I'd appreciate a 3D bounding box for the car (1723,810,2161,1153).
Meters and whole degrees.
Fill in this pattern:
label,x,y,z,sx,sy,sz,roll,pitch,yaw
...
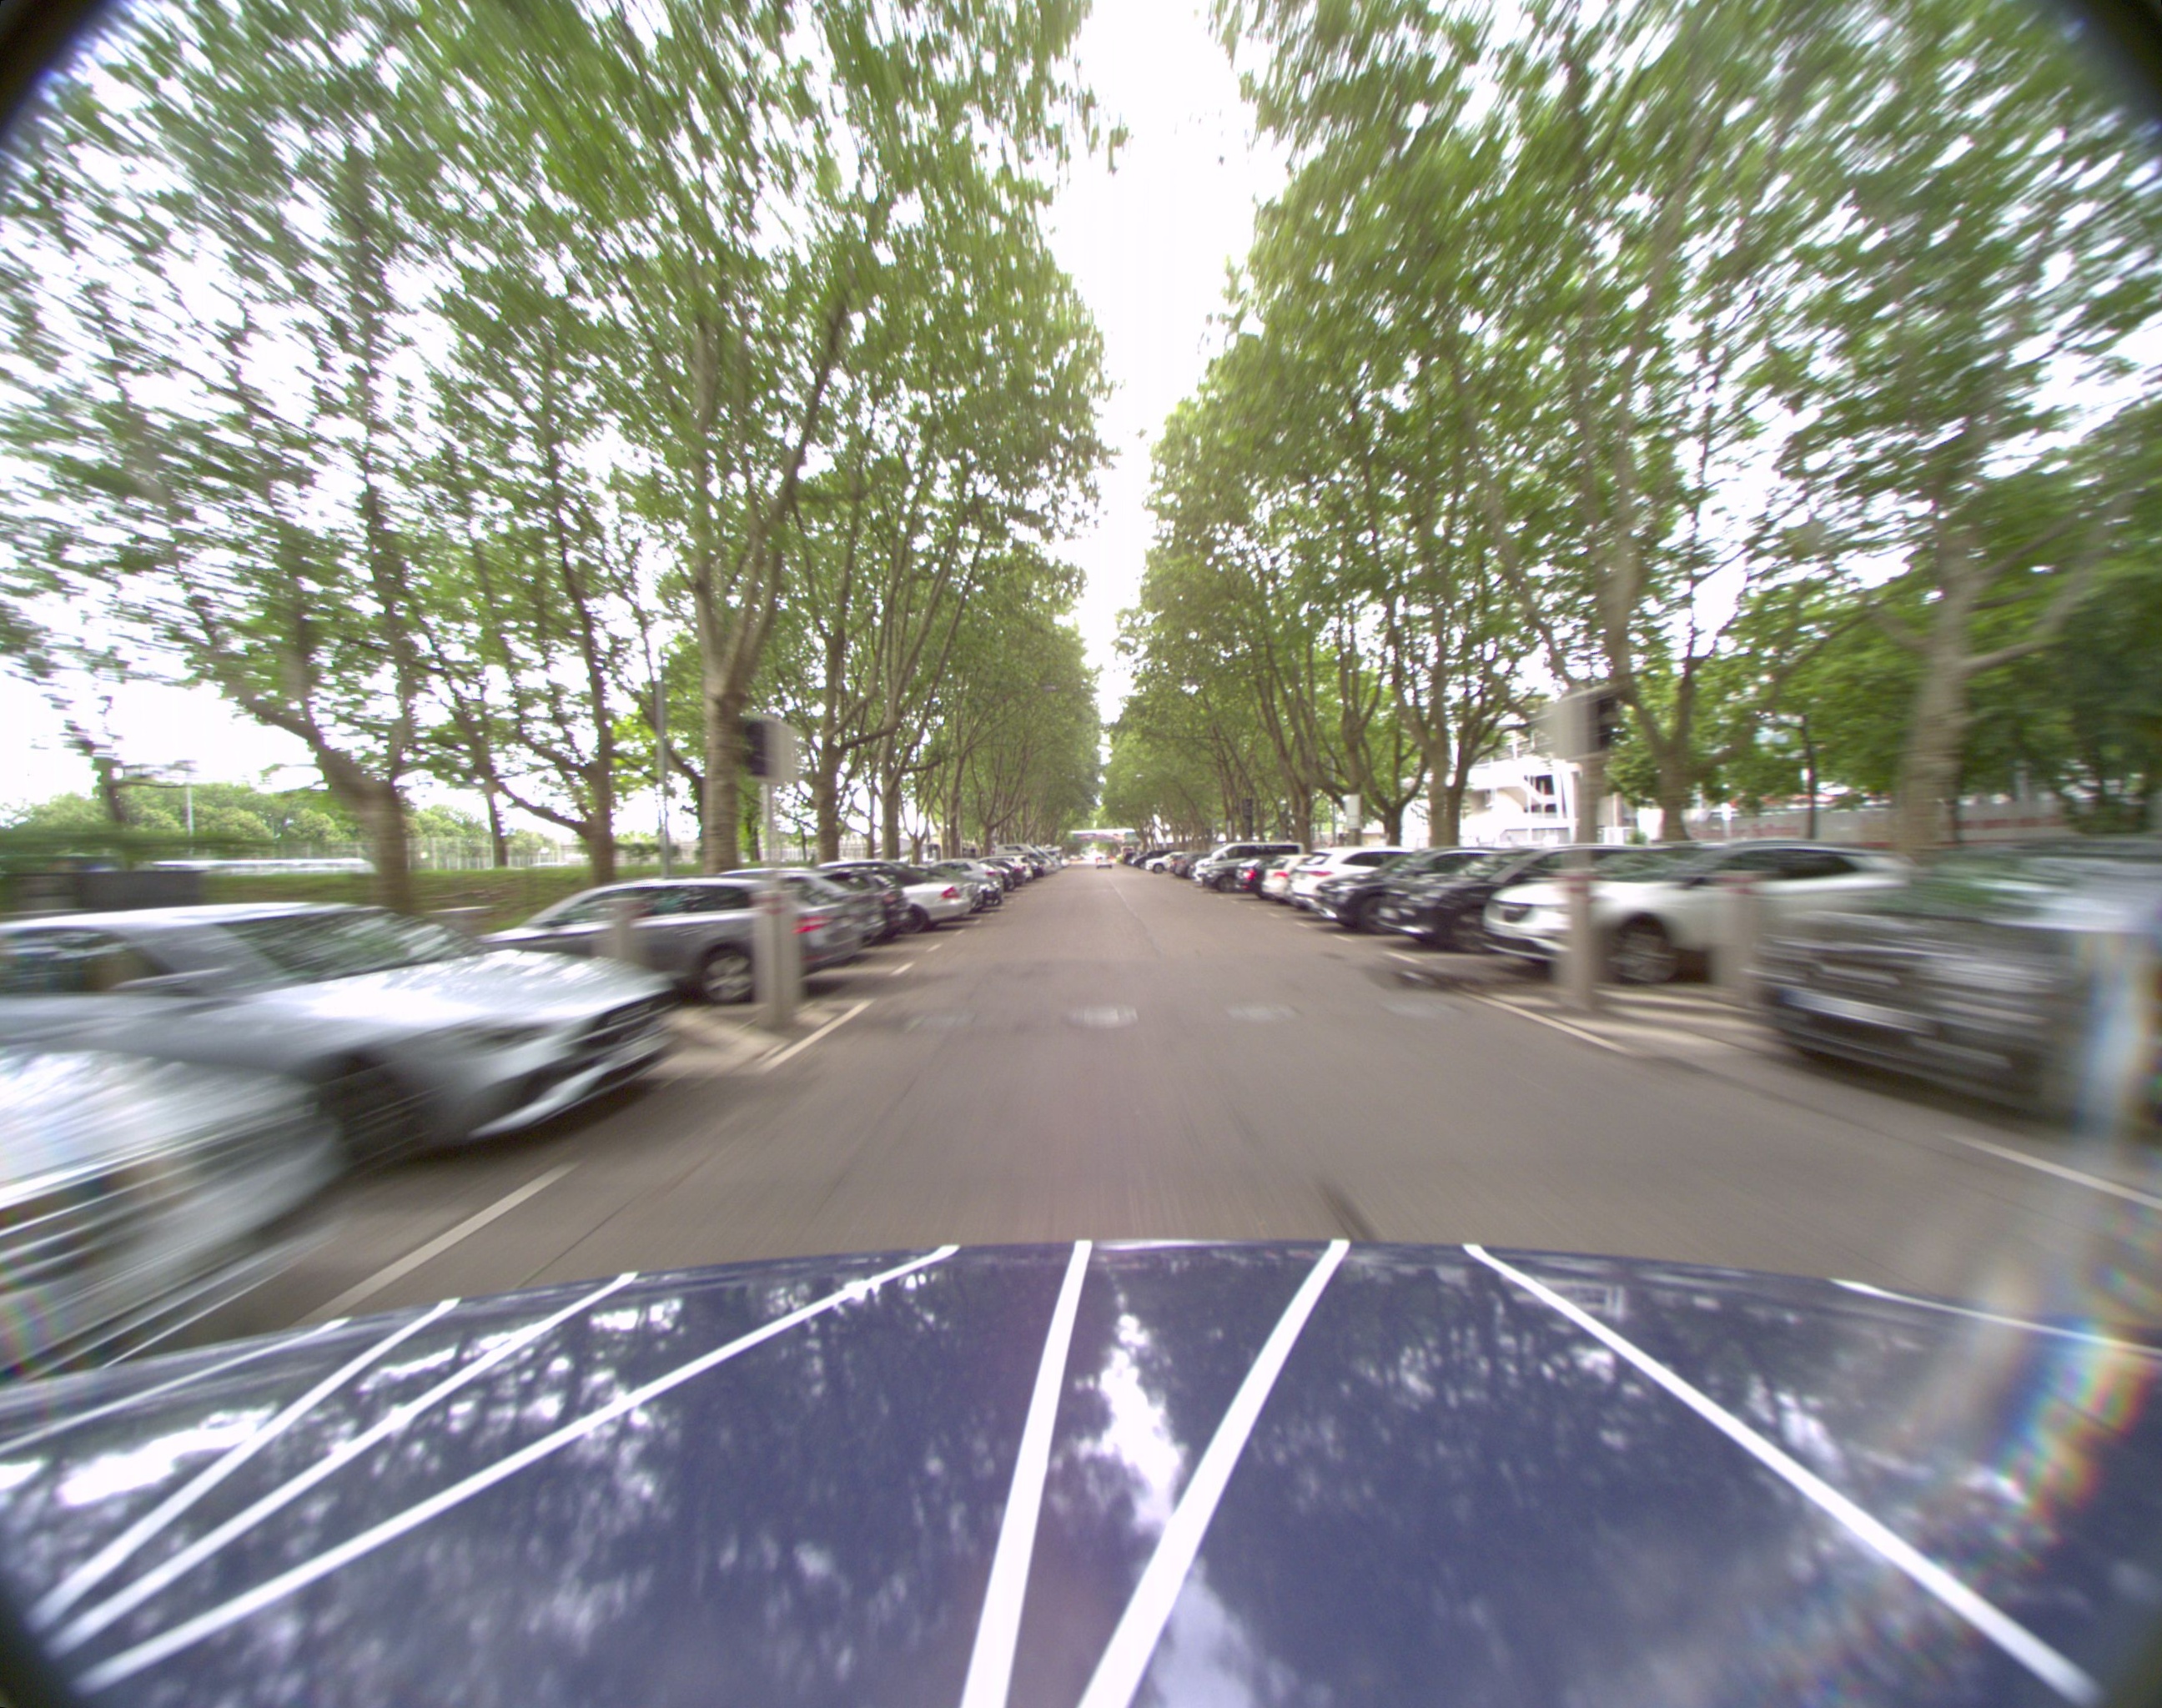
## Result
label,x,y,z,sx,sy,sz,roll,pitch,yaw
car,6.372,0.588,4.466,3.837,1.598,1.694,0,0,-2

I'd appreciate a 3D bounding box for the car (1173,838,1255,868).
label,x,y,z,sx,sy,sz,roll,pitch,yaw
car,7.692,-0.037,44.168,4.352,1.658,2.000,1,0,-1

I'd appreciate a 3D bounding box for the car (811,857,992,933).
label,x,y,z,sx,sy,sz,roll,pitch,yaw
car,-4.468,1.005,19.336,4.123,1.660,1.694,-3,0,1

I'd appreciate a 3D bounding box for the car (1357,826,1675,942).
label,x,y,z,sx,sy,sz,roll,pitch,yaw
car,6.489,0.421,11.636,3.837,1.598,1.834,0,0,-2

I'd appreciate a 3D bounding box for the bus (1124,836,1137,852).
label,x,y,z,sx,sy,sz,roll,pitch,yaw
bus,11.006,-2.166,169.203,2.657,3.136,12.370,1,0,2

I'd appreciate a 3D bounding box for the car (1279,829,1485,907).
label,x,y,z,sx,sy,sz,roll,pitch,yaw
car,6.637,0.293,17.037,3.837,1.618,1.952,0,0,-2

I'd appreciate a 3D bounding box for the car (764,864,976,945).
label,x,y,z,sx,sy,sz,roll,pitch,yaw
car,-4.527,1.075,16.715,4.123,1.461,1.694,-3,0,1

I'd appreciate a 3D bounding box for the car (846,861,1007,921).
label,x,y,z,sx,sy,sz,roll,pitch,yaw
car,-4.320,1.018,21.695,4.222,1.443,1.610,-3,0,-1

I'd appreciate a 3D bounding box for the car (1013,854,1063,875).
label,x,y,z,sx,sy,sz,roll,pitch,yaw
car,-3.938,0.929,70.315,4.350,1.608,1.804,-4,0,4

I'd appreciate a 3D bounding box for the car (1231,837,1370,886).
label,x,y,z,sx,sy,sz,roll,pitch,yaw
car,6.988,0.232,24.402,4.005,1.462,1.537,-1,0,1

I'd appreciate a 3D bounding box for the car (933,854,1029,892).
label,x,y,z,sx,sy,sz,roll,pitch,yaw
car,-4.444,0.839,34.189,3.997,1.477,1.694,-3,0,-1

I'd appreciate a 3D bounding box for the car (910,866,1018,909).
label,x,y,z,sx,sy,sz,roll,pitch,yaw
car,-4.457,1.269,29.293,3.837,1.380,1.694,-3,0,-1

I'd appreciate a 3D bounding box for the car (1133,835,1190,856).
label,x,y,z,sx,sy,sz,roll,pitch,yaw
car,7.924,-0.832,75.389,5.450,2.115,1.940,0,0,-1

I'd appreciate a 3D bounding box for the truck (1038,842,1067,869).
label,x,y,z,sx,sy,sz,roll,pitch,yaw
truck,-3.424,0.192,89.619,2.466,2.920,7.533,-3,0,-8

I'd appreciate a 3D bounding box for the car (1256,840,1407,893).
label,x,y,z,sx,sy,sz,roll,pitch,yaw
car,7.173,0.350,22.035,3.765,1.466,1.864,0,0,0

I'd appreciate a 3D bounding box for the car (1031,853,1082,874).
label,x,y,z,sx,sy,sz,roll,pitch,yaw
car,-3.572,1.348,109.167,6.905,2.679,2.125,-3,0,-13

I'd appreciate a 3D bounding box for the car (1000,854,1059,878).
label,x,y,z,sx,sy,sz,roll,pitch,yaw
car,-3.803,0.907,56.566,4.129,1.420,1.703,-5,1,3

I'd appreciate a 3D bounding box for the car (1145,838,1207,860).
label,x,y,z,sx,sy,sz,roll,pitch,yaw
car,7.076,-0.347,57.107,4.391,1.587,2.000,0,0,-1

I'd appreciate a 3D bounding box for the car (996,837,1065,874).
label,x,y,z,sx,sy,sz,roll,pitch,yaw
car,-4.074,0.136,61.818,5.241,2.673,1.957,-3,0,1

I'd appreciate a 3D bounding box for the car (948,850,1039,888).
label,x,y,z,sx,sy,sz,roll,pitch,yaw
car,-4.551,0.779,39.780,4.394,1.745,1.801,-3,0,3

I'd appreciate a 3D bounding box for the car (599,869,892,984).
label,x,y,z,sx,sy,sz,roll,pitch,yaw
car,-5.114,1.077,11.940,3.785,1.461,1.667,-3,0,0

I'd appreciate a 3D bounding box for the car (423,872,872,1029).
label,x,y,z,sx,sy,sz,roll,pitch,yaw
car,-4.964,1.076,9.117,4.377,1.461,1.624,-3,0,0

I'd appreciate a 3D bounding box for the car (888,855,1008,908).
label,x,y,z,sx,sy,sz,roll,pitch,yaw
car,-4.602,0.931,26.612,3.837,1.598,1.694,-3,0,-1

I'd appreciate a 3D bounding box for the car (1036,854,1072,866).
label,x,y,z,sx,sy,sz,roll,pitch,yaw
car,-3.420,0.809,96.717,4.330,1.294,1.700,-3,0,1

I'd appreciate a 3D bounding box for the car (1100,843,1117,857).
label,x,y,z,sx,sy,sz,roll,pitch,yaw
car,3.030,-0.415,84.698,1.693,1.462,3.839,0,0,-1

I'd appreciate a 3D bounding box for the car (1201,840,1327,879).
label,x,y,z,sx,sy,sz,roll,pitch,yaw
car,6.904,0.211,28.986,4.458,1.444,1.775,0,0,4

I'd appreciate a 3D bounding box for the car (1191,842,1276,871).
label,x,y,z,sx,sy,sz,roll,pitch,yaw
car,7.664,0.107,38.510,3.996,1.405,1.683,1,0,1

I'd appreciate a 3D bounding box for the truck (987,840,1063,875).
label,x,y,z,sx,sy,sz,roll,pitch,yaw
truck,-4.907,0.305,66.993,6.308,2.699,2.098,-3,0,2

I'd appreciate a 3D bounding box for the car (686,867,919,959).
label,x,y,z,sx,sy,sz,roll,pitch,yaw
car,-5.215,1.080,14.540,3.785,1.461,1.624,-3,0,2

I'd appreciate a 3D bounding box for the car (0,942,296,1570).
label,x,y,z,sx,sy,sz,roll,pitch,yaw
car,-4.833,1.134,1.677,4.309,1.461,1.623,-3,0,-3

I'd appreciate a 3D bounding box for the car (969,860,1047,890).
label,x,y,z,sx,sy,sz,roll,pitch,yaw
car,-4.385,1.250,46.326,4.514,1.517,1.703,-3,0,-1

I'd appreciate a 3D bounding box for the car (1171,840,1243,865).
label,x,y,z,sx,sy,sz,roll,pitch,yaw
car,7.638,-0.066,46.295,3.997,1.467,1.842,1,0,-1

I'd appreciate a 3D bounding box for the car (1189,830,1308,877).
label,x,y,z,sx,sy,sz,roll,pitch,yaw
car,7.439,-0.033,34.060,4.907,2.007,1.919,0,0,-2

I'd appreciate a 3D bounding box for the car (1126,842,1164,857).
label,x,y,z,sx,sy,sz,roll,pitch,yaw
car,8.405,-0.640,100.455,4.917,1.913,2.208,-1,0,1

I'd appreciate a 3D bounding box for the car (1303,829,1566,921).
label,x,y,z,sx,sy,sz,roll,pitch,yaw
car,6.424,0.379,14.180,4.077,1.598,1.800,0,0,3

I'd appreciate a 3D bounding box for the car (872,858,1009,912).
label,x,y,z,sx,sy,sz,roll,pitch,yaw
car,-4.401,0.966,24.080,3.833,1.447,1.696,-3,0,12

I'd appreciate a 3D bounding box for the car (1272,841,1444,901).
label,x,y,z,sx,sy,sz,roll,pitch,yaw
car,7.090,0.430,19.668,3.837,1.463,1.694,0,0,-2

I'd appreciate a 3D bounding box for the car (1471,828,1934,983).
label,x,y,z,sx,sy,sz,roll,pitch,yaw
car,6.994,0.530,8.842,4.054,1.599,1.694,0,1,-2

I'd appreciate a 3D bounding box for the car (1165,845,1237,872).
label,x,y,z,sx,sy,sz,roll,pitch,yaw
car,7.813,0.288,49.587,4.352,1.658,2.000,1,0,-1

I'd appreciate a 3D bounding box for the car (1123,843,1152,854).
label,x,y,z,sx,sy,sz,roll,pitch,yaw
car,8.906,-0.894,120.330,4.526,1.608,1.758,-2,0,3

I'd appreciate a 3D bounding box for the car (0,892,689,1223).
label,x,y,z,sx,sy,sz,roll,pitch,yaw
car,-5.141,1.113,4.627,4.625,1.461,1.650,-3,0,3
